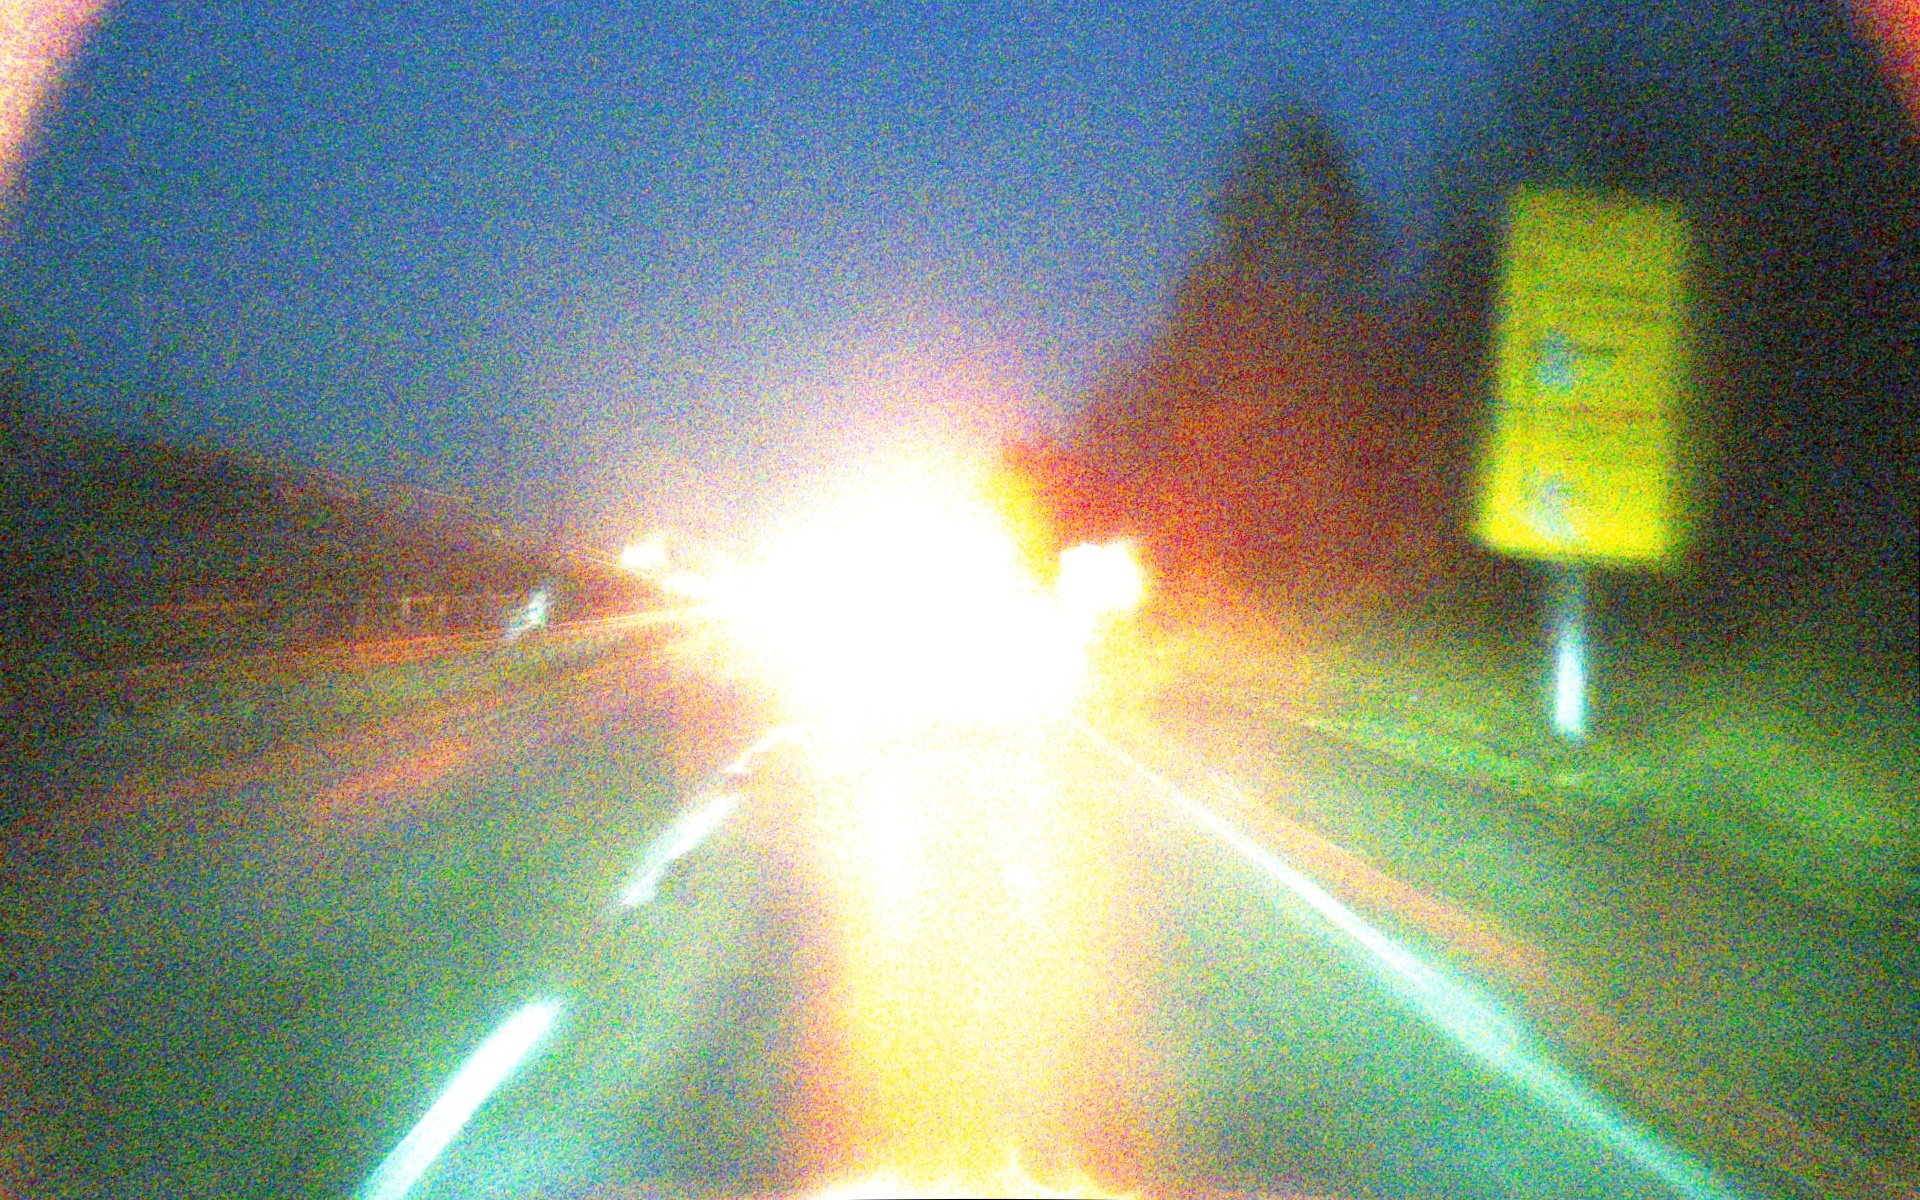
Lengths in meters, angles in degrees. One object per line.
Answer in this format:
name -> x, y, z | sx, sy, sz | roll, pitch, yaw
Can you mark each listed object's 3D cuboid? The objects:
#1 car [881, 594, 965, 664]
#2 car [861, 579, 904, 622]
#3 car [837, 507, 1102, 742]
car -> -0.981, 0.667, 40.876 | 1.842, 1.608, 4.781 | 0, 0, -4
car -> -3.689, 0.018, 79.052 | 1.953, 1.948, 3.998 | -2, 0, -2
car -> 0.020, 0.230, 19.882 | 2.660, 2.348, 6.098 | 1, 0, -2
